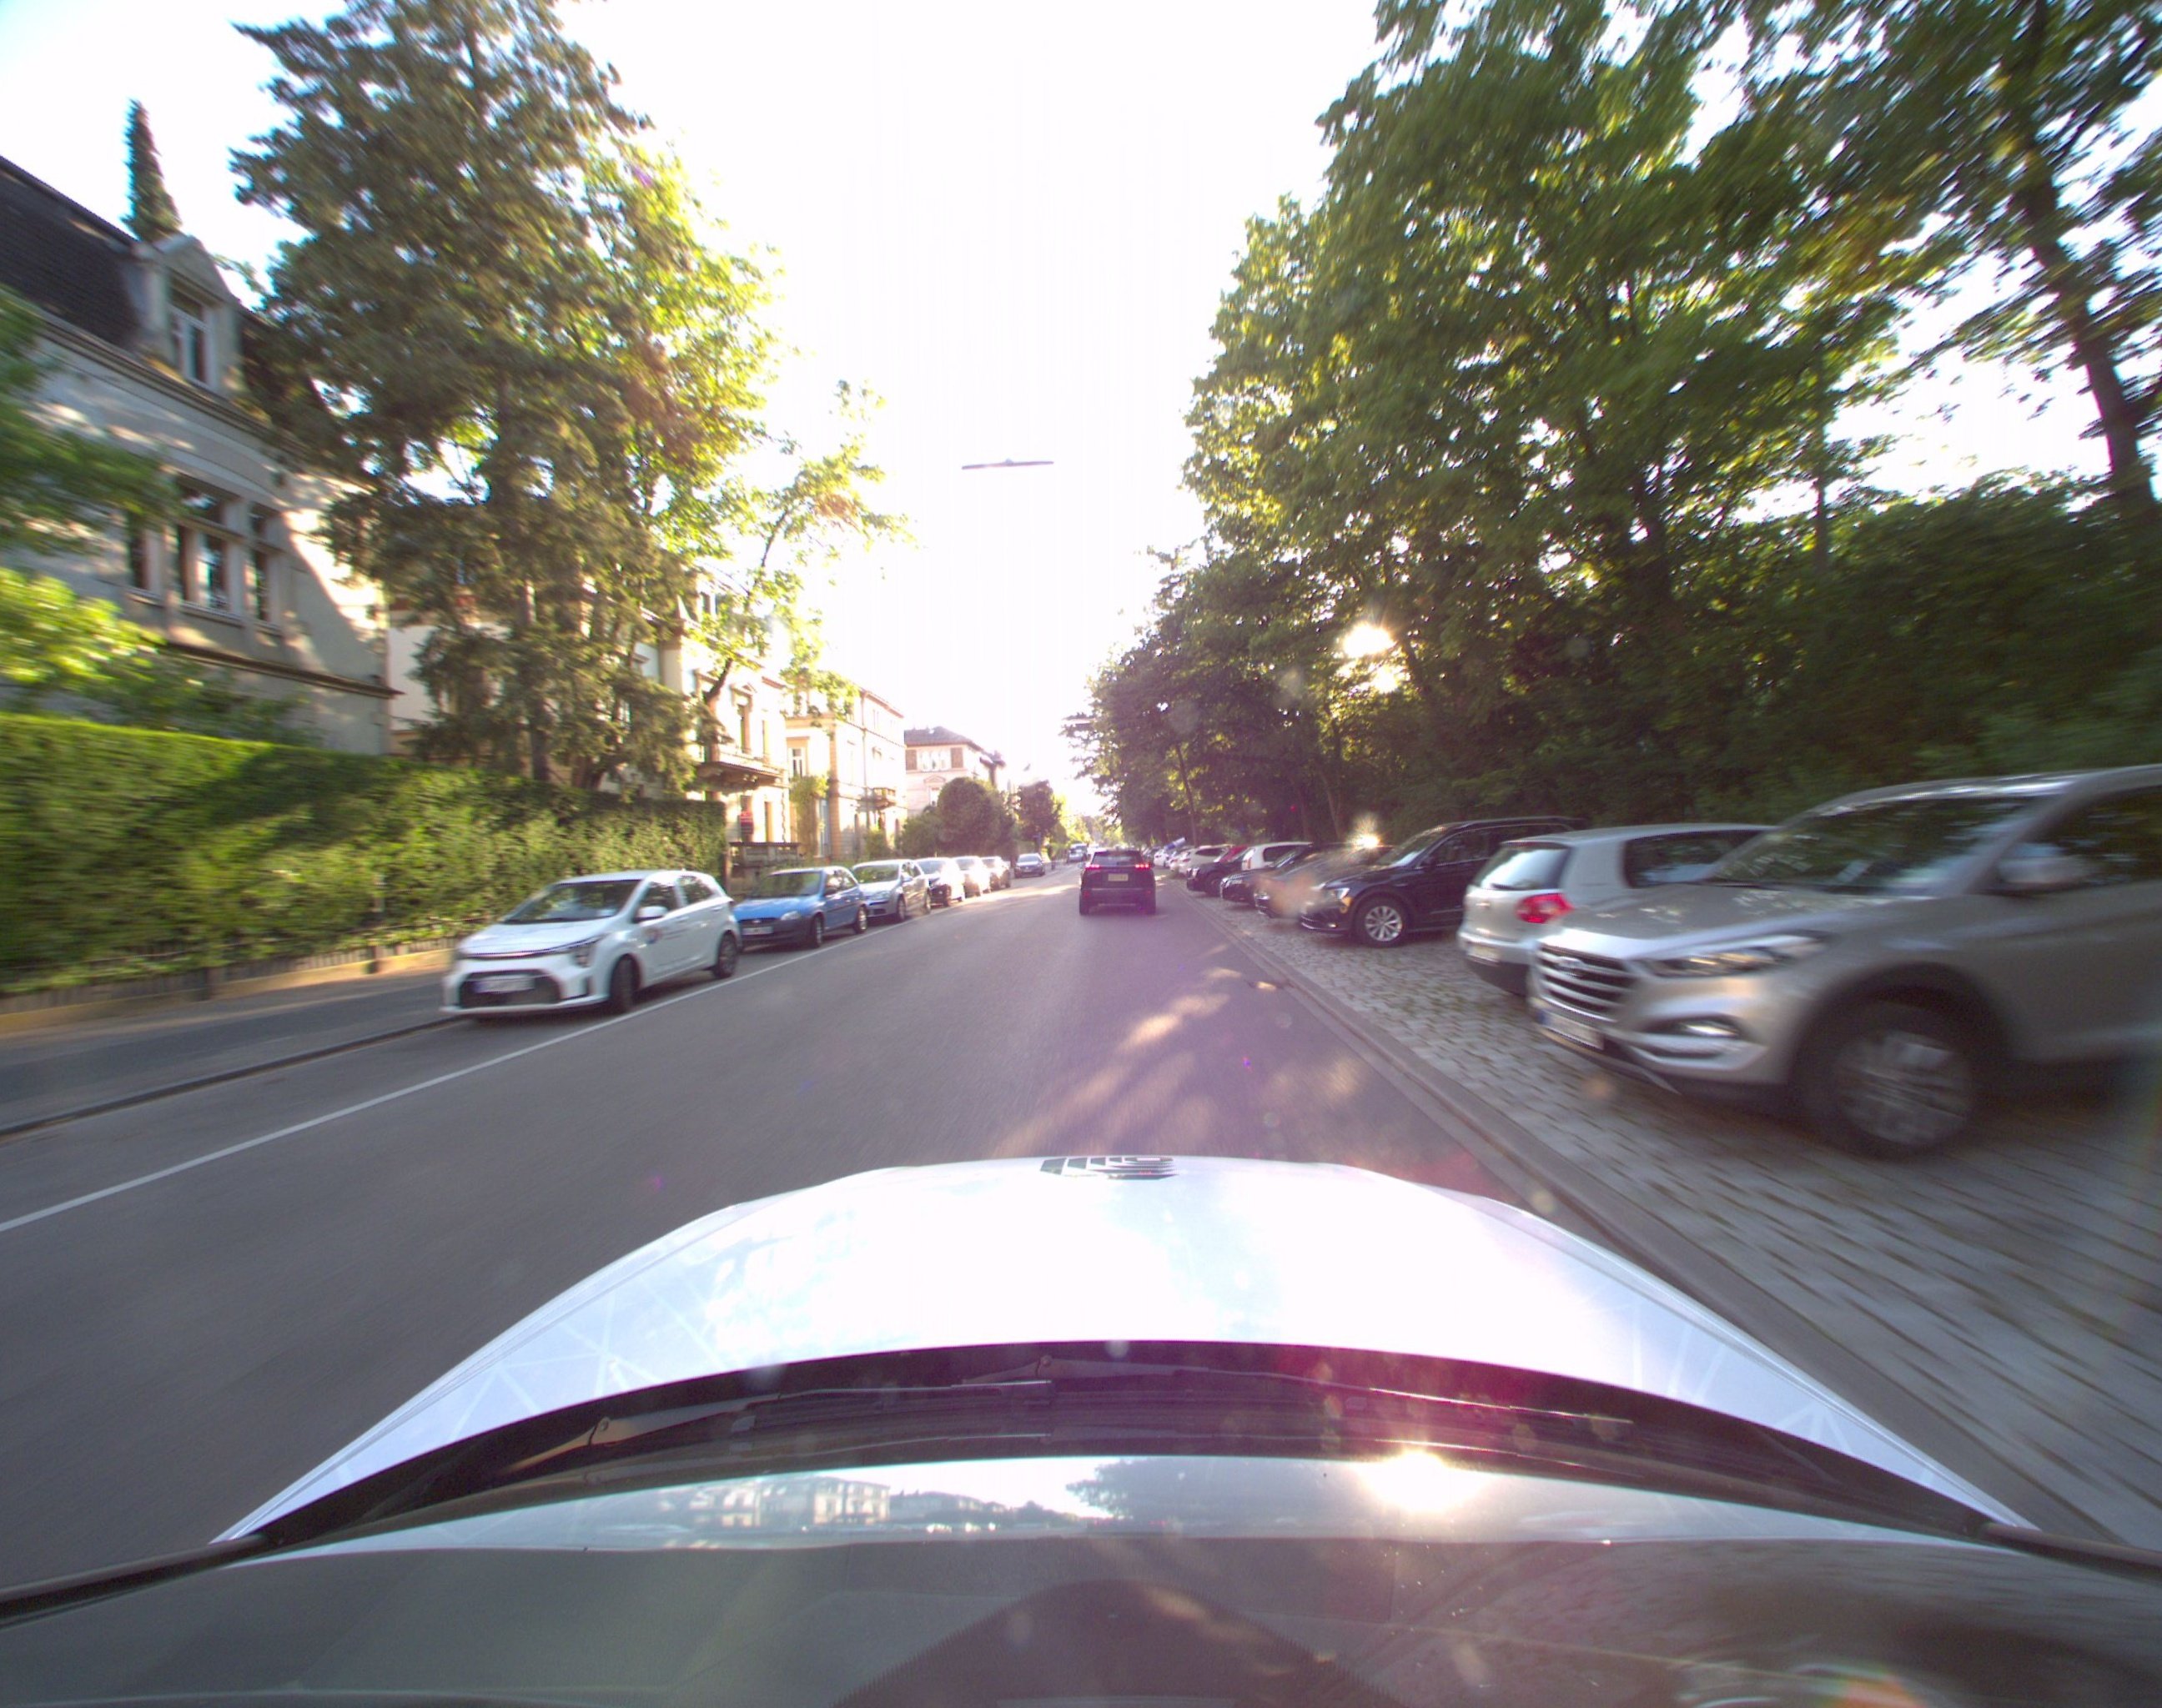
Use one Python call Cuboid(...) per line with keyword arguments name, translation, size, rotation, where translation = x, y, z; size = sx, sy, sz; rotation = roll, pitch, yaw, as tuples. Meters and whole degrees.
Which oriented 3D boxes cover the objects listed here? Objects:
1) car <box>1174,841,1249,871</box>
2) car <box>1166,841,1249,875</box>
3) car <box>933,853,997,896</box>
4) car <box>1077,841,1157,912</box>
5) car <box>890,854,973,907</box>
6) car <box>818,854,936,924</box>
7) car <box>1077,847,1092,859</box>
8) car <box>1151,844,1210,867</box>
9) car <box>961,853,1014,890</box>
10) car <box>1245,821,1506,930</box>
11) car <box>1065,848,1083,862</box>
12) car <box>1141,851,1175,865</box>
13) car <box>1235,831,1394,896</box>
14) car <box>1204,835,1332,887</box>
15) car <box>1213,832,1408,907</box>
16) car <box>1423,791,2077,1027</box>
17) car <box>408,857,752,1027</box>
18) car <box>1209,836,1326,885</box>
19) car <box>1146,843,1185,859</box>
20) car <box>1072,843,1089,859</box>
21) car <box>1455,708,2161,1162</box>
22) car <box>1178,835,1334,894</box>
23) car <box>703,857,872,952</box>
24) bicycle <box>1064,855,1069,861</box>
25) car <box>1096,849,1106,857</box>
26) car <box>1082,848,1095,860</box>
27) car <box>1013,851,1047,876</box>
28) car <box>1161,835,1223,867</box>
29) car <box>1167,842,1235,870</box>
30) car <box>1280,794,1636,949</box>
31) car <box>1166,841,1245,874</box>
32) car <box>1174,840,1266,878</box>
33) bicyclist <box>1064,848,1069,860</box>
Cuboid(name="car", translation=(7.494, 0.113, 46.920), size=(3.977, 1.624, 1.756), rotation=(-2, 0, -3))
Cuboid(name="car", translation=(6.490, 0.216, 42.129), size=(3.977, 1.624, 1.756), rotation=(-2, 0, -3))
Cuboid(name="car", translation=(-4.366, 0.735, 31.258), size=(1.607, 1.466, 4.039), rotation=(-3, 0, 3))
Cuboid(name="car", translation=(0.815, 0.488, 20.121), size=(1.765, 1.568, 4.109), rotation=(0, 0, 0))
Cuboid(name="car", translation=(-4.636, 0.779, 25.767), size=(1.607, 1.466, 4.039), rotation=(-3, 0, 3))
Cuboid(name="car", translation=(-4.867, 0.782, 19.993), size=(1.607, 1.466, 4.039), rotation=(-3, 0, 3))
Cuboid(name="car", translation=(0.518, -0.155, 120.028), size=(1.986, 1.768, 4.002), rotation=(-2, 0, 2))
Cuboid(name="car", translation=(7.220, 0.128, 59.288), size=(3.977, 1.526, 1.756), rotation=(-2, 0, -3))
Cuboid(name="car", translation=(-4.058, 0.718, 35.954), size=(1.607, 1.466, 4.039), rotation=(-3, 0, 3))
Cuboid(name="car", translation=(5.102, 0.364, 14.517), size=(3.971, 1.554, 1.726), rotation=(-4, 0, 2))
Cuboid(name="car", translation=(-0.792, 0.168, 97.523), size=(1.892, 1.574, 4.003), rotation=(-2, 0, 2))
Cuboid(name="car", translation=(9.254, 0.432, 98.132), size=(3.969, 1.526, 1.760), rotation=(-2, 0, 3))
Cuboid(name="car", translation=(6.181, 0.251, 21.909), size=(3.789, 1.449, 1.829), rotation=(-4, 0, 6))
Cuboid(name="car", translation=(6.229, 0.240, 27.396), size=(3.797, 1.449, 1.876), rotation=(-4, 0, -2))
Cuboid(name="car", translation=(5.304, 0.360, 19.276), size=(4.136, 1.449, 1.734), rotation=(-4, 0, 5))
Cuboid(name="car", translation=(5.231, 0.413, 6.829), size=(3.971, 1.554, 1.726), rotation=(-3, 0, 2))
Cuboid(name="car", translation=(-5.539, 0.851, 9.636), size=(1.608, 1.515, 3.713), rotation=(-4, 0, 1))
Cuboid(name="car", translation=(6.775, 0.222, 29.887), size=(3.797, 1.510, 1.825), rotation=(-4, 0, -2))
Cuboid(name="car", translation=(8.696, -0.301, 84.314), size=(3.969, 1.526, 1.760), rotation=(-2, 0, 3))
Cuboid(name="car", translation=(-0.024, -0.417, 108.161), size=(1.985, 2.013, 4.004), rotation=(-2, 0, 4))
Cuboid(name="car", translation=(4.690, 0.283, 4.450), size=(4.291, 1.804, 2.036), rotation=(-4, 0, 1))
Cuboid(name="car", translation=(5.202, 0.318, 24.632), size=(4.228, 1.449, 2.021), rotation=(-4, 0, 0))
Cuboid(name="car", translation=(-5.289, 0.839, 15.227), size=(1.607, 1.485, 3.744), rotation=(-3, 0, 2))
Cuboid(name="bicycle", translation=(-2.200, 0.616, 127.263), size=(0.689, 1.015, 2.048), rotation=(-2, 0, 0))
Cuboid(name="car", translation=(4.391, -0.206, 177.382), size=(1.985, 1.816, 4.003), rotation=(-2, 0, 2))
Cuboid(name="car", translation=(1.201, -0.011, 135.803), size=(1.985, 1.816, 4.003), rotation=(-2, 0, 2))
Cuboid(name="car", translation=(-3.235, 0.603, 52.261), size=(1.746, 1.413, 3.765), rotation=(-4, 0, 1))
Cuboid(name="car", translation=(7.686, -0.224, 56.403), size=(3.977, 2.089, 1.756), rotation=(-2, 0, -3))
Cuboid(name="car", translation=(7.561, 0.114, 51.483), size=(3.977, 1.624, 1.756), rotation=(-2, 0, -3))
Cuboid(name="car", translation=(5.266, 0.242, 11.852), size=(4.228, 1.789, 1.885), rotation=(-4, 0, 2))
Cuboid(name="car", translation=(6.735, 0.171, 44.395), size=(3.977, 1.624, 1.756), rotation=(-2, 0, -3))
Cuboid(name="car", translation=(6.240, 0.228, 36.859), size=(3.797, 1.449, 1.825), rotation=(-4, 0, -2))
Cuboid(name="bicyclist", translation=(-2.232, 0.017, 127.292), size=(0.690, 1.792, 0.772), rotation=(-2, 0, 0))
